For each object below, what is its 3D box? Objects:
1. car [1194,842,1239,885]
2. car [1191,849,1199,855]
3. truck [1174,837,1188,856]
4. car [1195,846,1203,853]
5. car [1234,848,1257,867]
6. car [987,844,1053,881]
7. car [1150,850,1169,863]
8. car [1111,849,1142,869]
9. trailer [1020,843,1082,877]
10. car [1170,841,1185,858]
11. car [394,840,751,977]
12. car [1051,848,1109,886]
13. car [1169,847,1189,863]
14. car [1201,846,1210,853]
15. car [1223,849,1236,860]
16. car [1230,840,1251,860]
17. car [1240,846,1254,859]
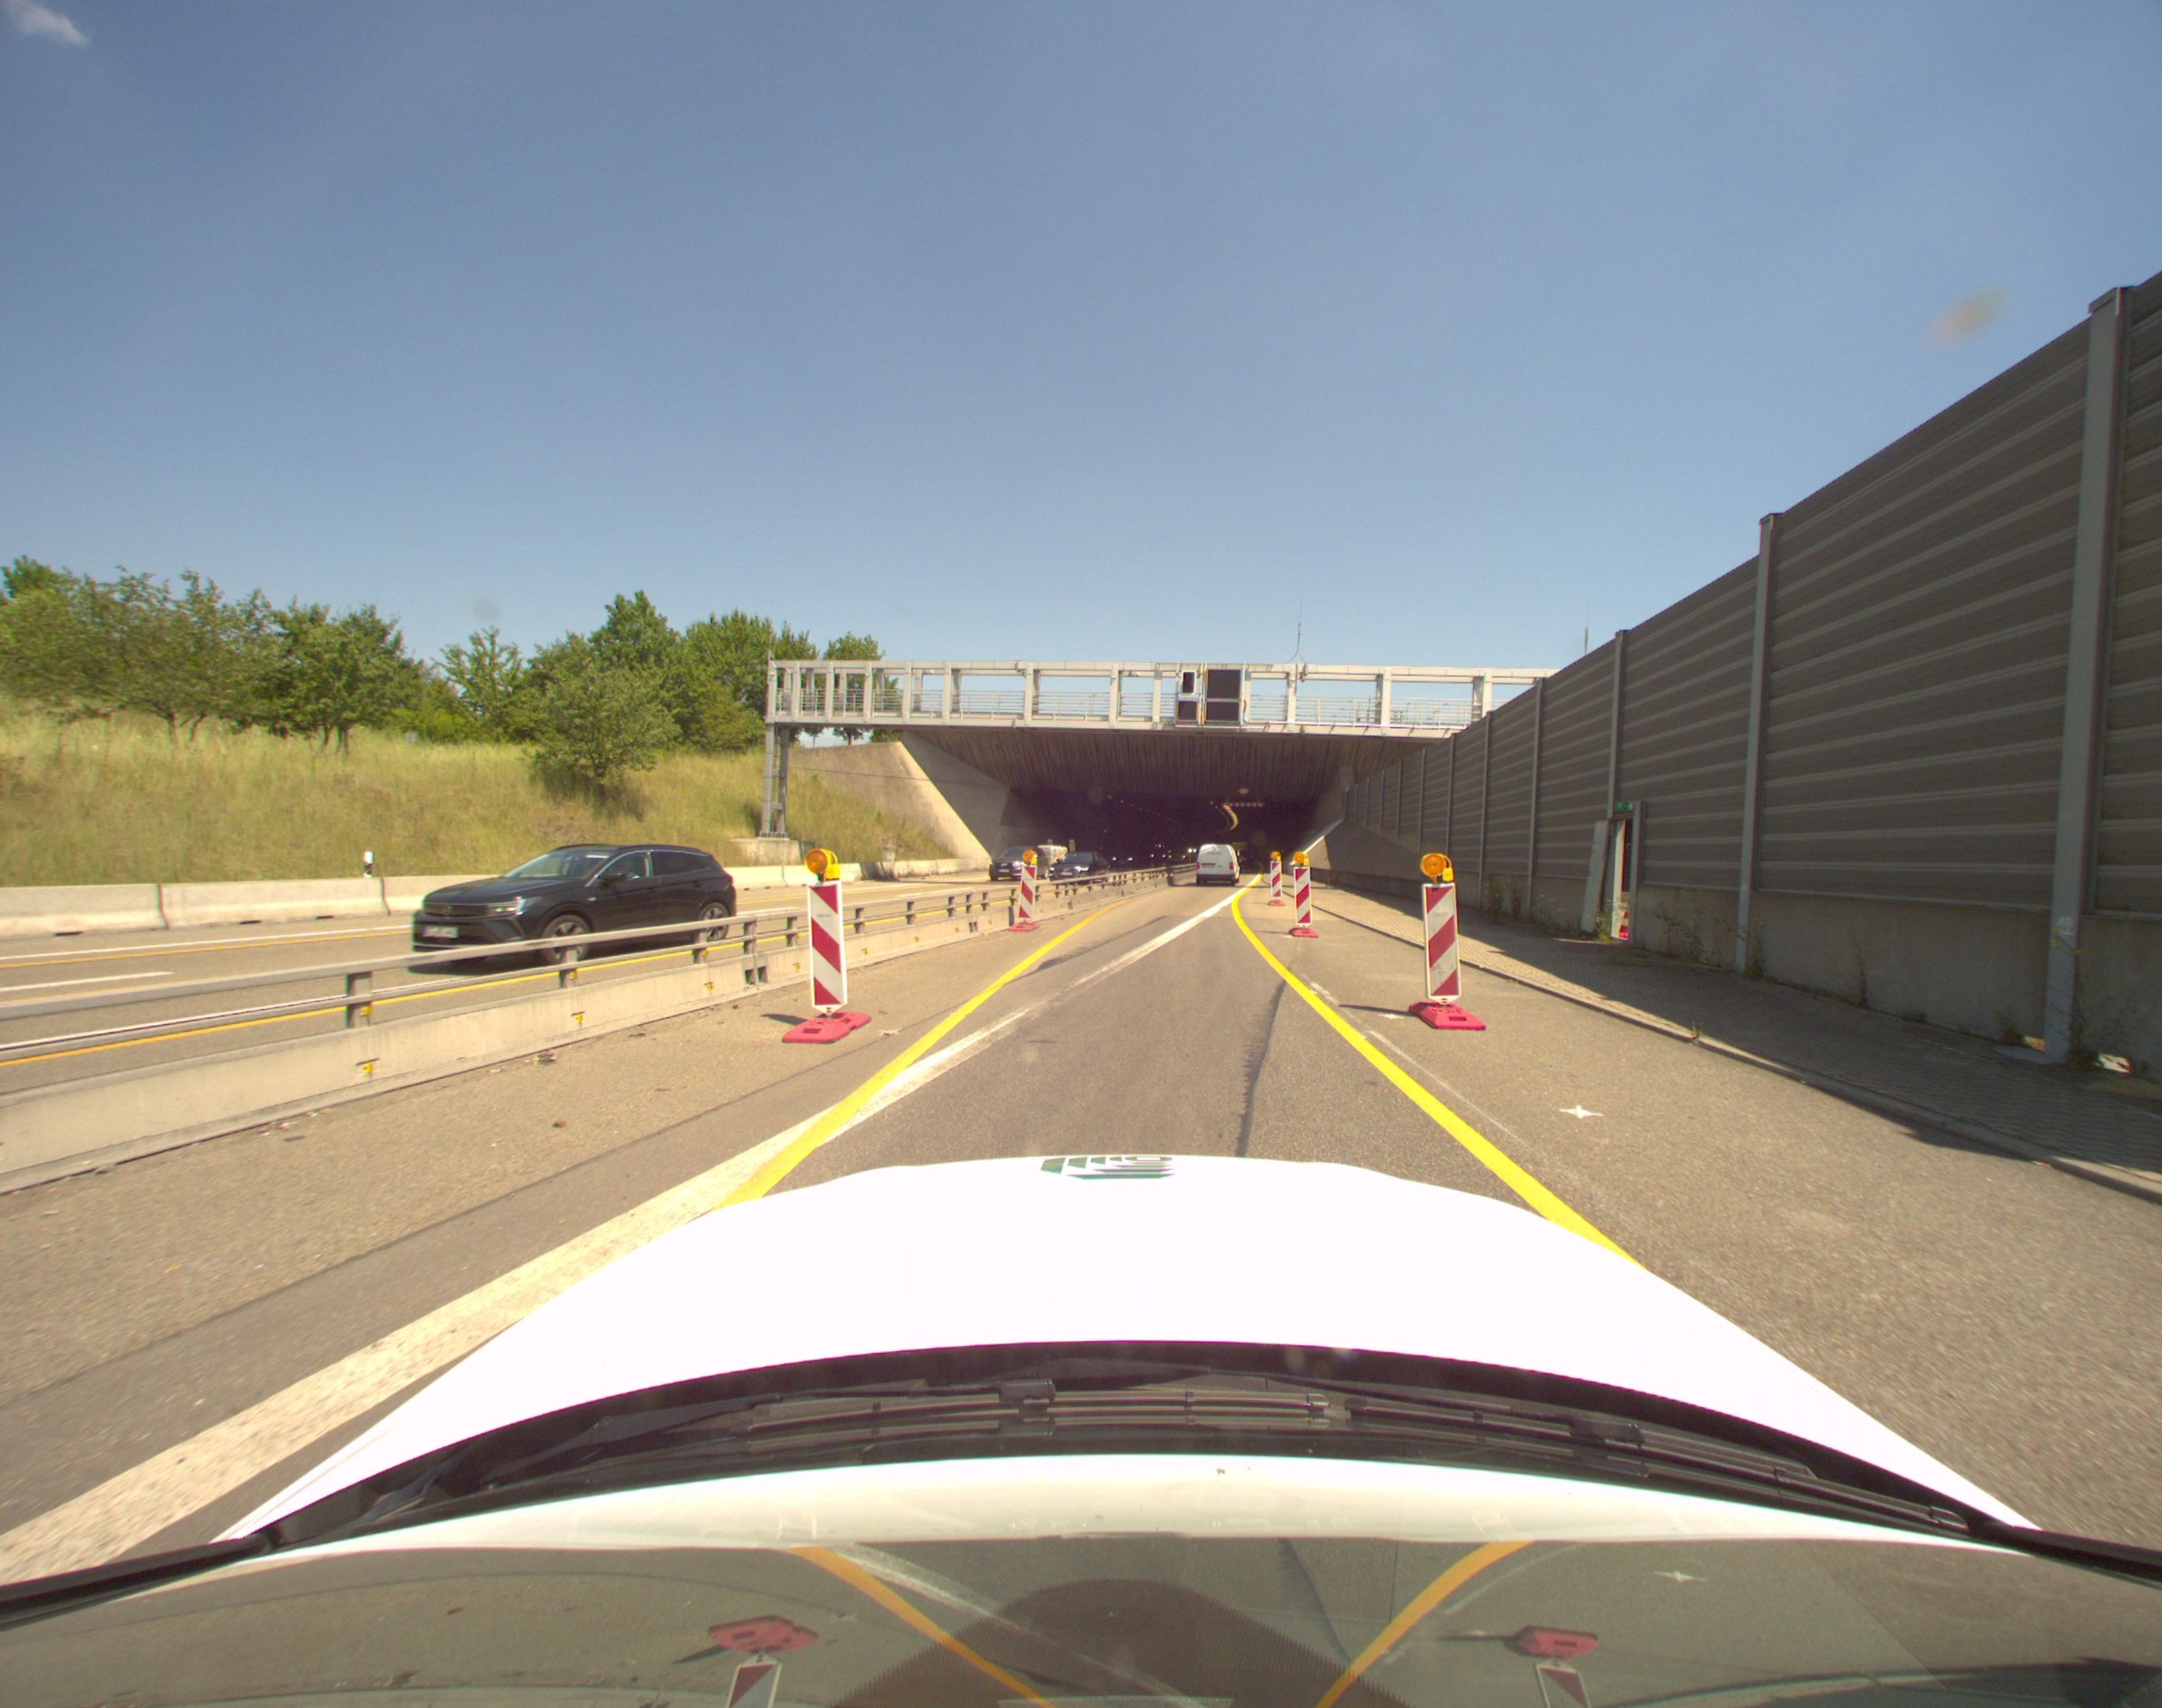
[{"bbox_3d":[6.248,0.435,37.272,1.797,1.794,3.743,2,0,11],"label":"car"},{"bbox_3d":[26.729,-0.515,191.053,1.811,1.456,4.102,0,0,8],"label":"car"},{"bbox_3d":[21.561,-1.576,175.545,2.795,3.915,6.470,0,0,8],"label":"truck"},{"bbox_3d":[37.544,-1.382,258.948,2.064,2.021,4.666,0,0,3],"label":"car"},{"bbox_3d":[13.846,0.285,68.551,1.797,1.537,4.422,2,0,11],"label":"car"},{"bbox_3d":[-2.997,0.376,41.172,1.760,1.727,4.887,0,0,15],"label":"car"},{"bbox_3d":[9.389,0.262,97.301,1.762,1.515,4.578,0,0,11],"label":"car"},{"bbox_3d":[4.044,0.430,71.565,1.760,1.666,4.827,0,0,15],"label":"car"},{"bbox_3d":[-1.605,0.298,46.241,1.932,1.805,5.545,0,0,15],"label":"trailer"},{"bbox_3d":[14.469,-0.671,122.010,1.981,2.515,6.058,0,0,10],"label":"car"},{"bbox_3d":[-6.947,0.640,11.759,1.729,1.593,4.246,0,0,17],"label":"car"},{"bbox_3d":[0.039,0.545,37.528,1.762,1.593,5.001,0,0,11],"label":"car"},{"bbox_3d":[9.876,0.064,82.132,1.763,1.577,4.458,0,0,9],"label":"car"},{"bbox_3d":[36.421,-1.437,238.079,2.064,2.021,4.666,0,0,3],"label":"car"},{"bbox_3d":[29.701,0.040,163.078,2.025,2.021,4.639,4,1,5],"label":"car"},{"bbox_3d":[24.894,-0.529,127.310,2.797,2.773,7.119,4,-1,9],"label":"car"},{"bbox_3d":[21.681,-0.200,106.528,1.590,1.546,3.685,0,0,7],"label":"car"}]
